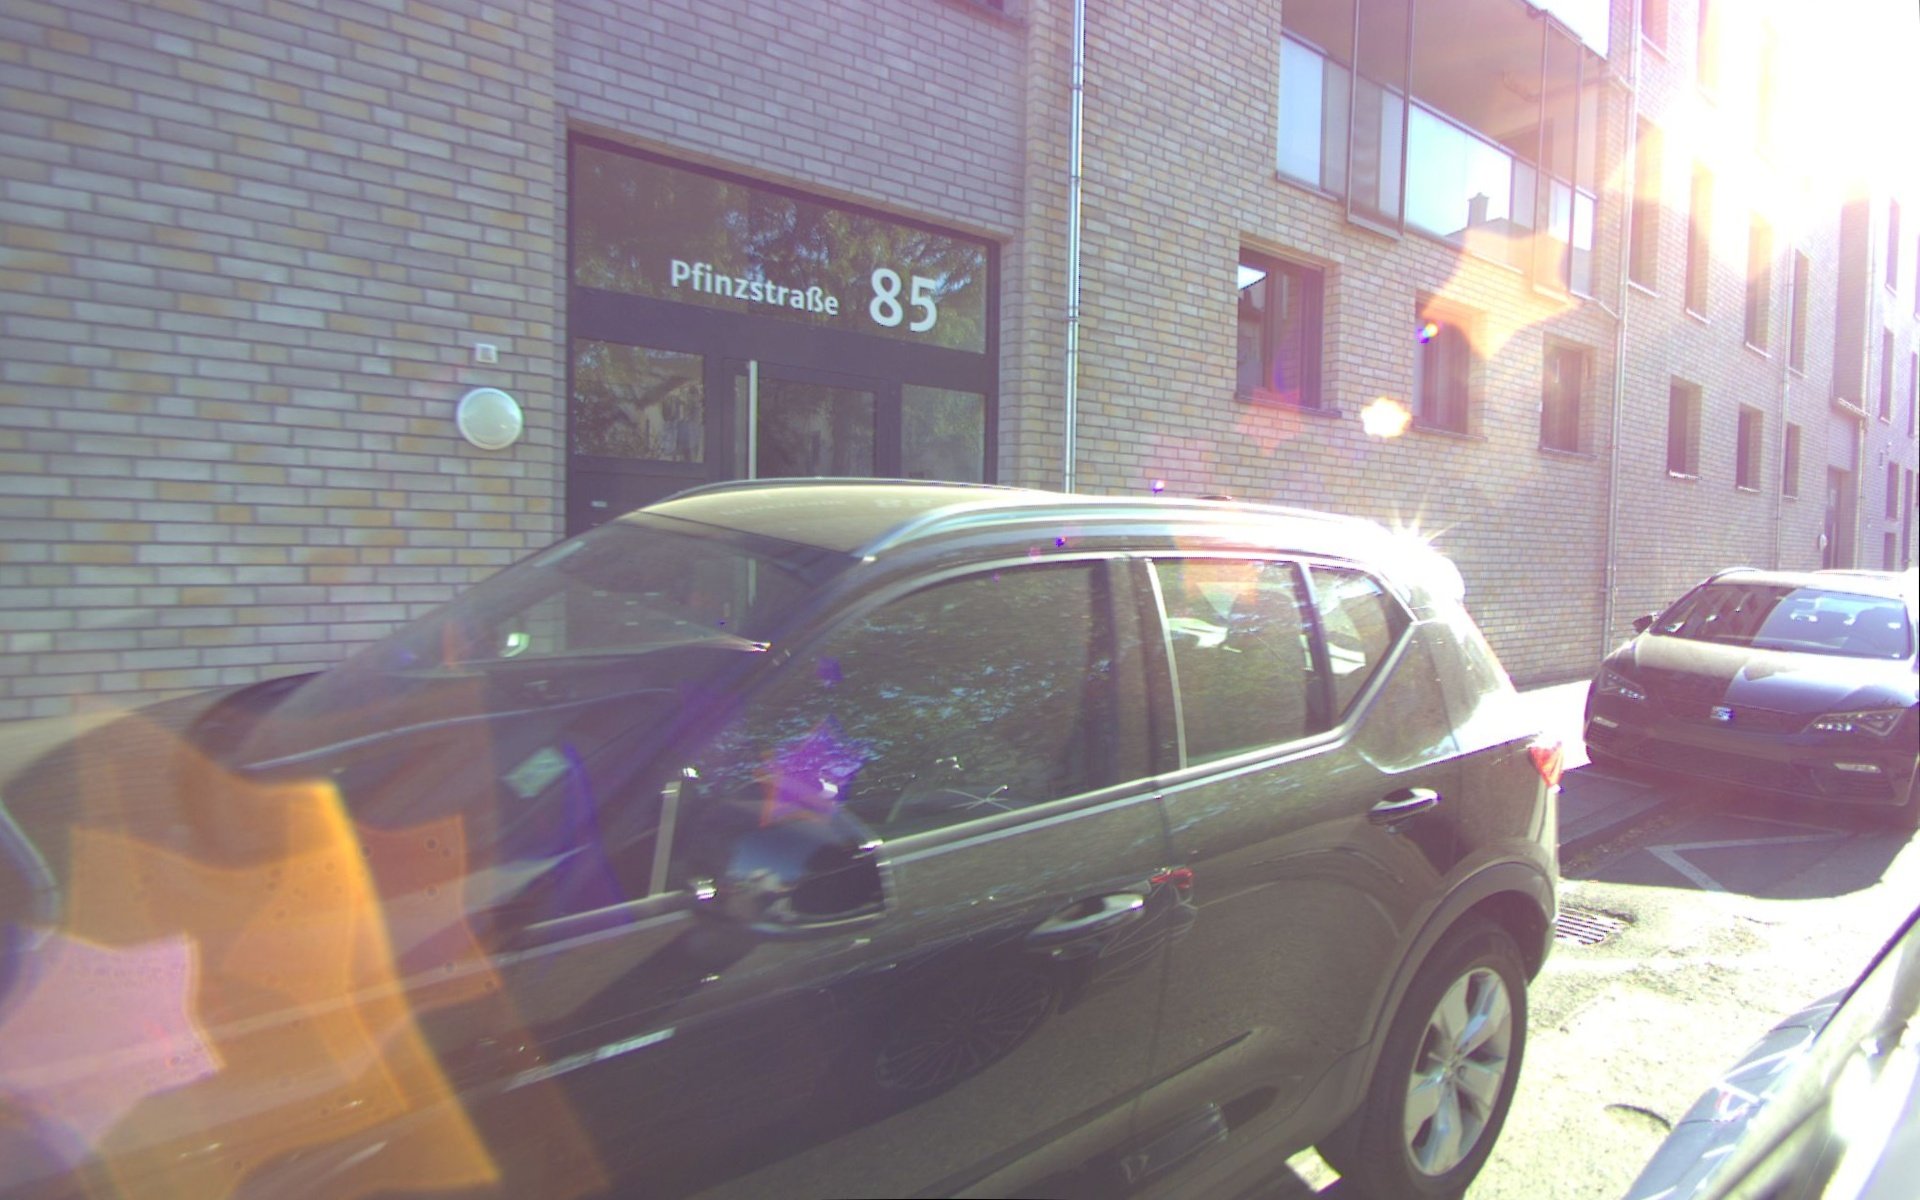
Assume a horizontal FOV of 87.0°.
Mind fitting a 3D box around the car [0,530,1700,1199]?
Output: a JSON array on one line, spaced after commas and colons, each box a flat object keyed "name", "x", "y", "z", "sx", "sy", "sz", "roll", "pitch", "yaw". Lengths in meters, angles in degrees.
[{"name": "car", "x": -0.127, "y": 0.633, "z": 2.291, "sx": 4.193, "sy": 1.484, "sz": 1.822, "roll": -1, "pitch": 4, "yaw": -39}]

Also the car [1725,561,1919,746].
[{"name": "car", "x": 9.623, "y": 0.416, "z": 10.562, "sx": 4.145, "sy": 1.534, "sz": 1.668, "roll": -1, "pitch": 6, "yaw": -40}]

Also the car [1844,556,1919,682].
[{"name": "car", "x": 14.117, "y": 0.248, "z": 14.153, "sx": 4.542, "sy": 1.547, "sz": 1.731, "roll": -1, "pitch": 7, "yaw": -39}]

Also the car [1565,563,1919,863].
[{"name": "car", "x": 6.275, "y": 0.528, "z": 7.447, "sx": 4.638, "sy": 1.484, "sz": 1.700, "roll": -1, "pitch": 5, "yaw": -41}]
